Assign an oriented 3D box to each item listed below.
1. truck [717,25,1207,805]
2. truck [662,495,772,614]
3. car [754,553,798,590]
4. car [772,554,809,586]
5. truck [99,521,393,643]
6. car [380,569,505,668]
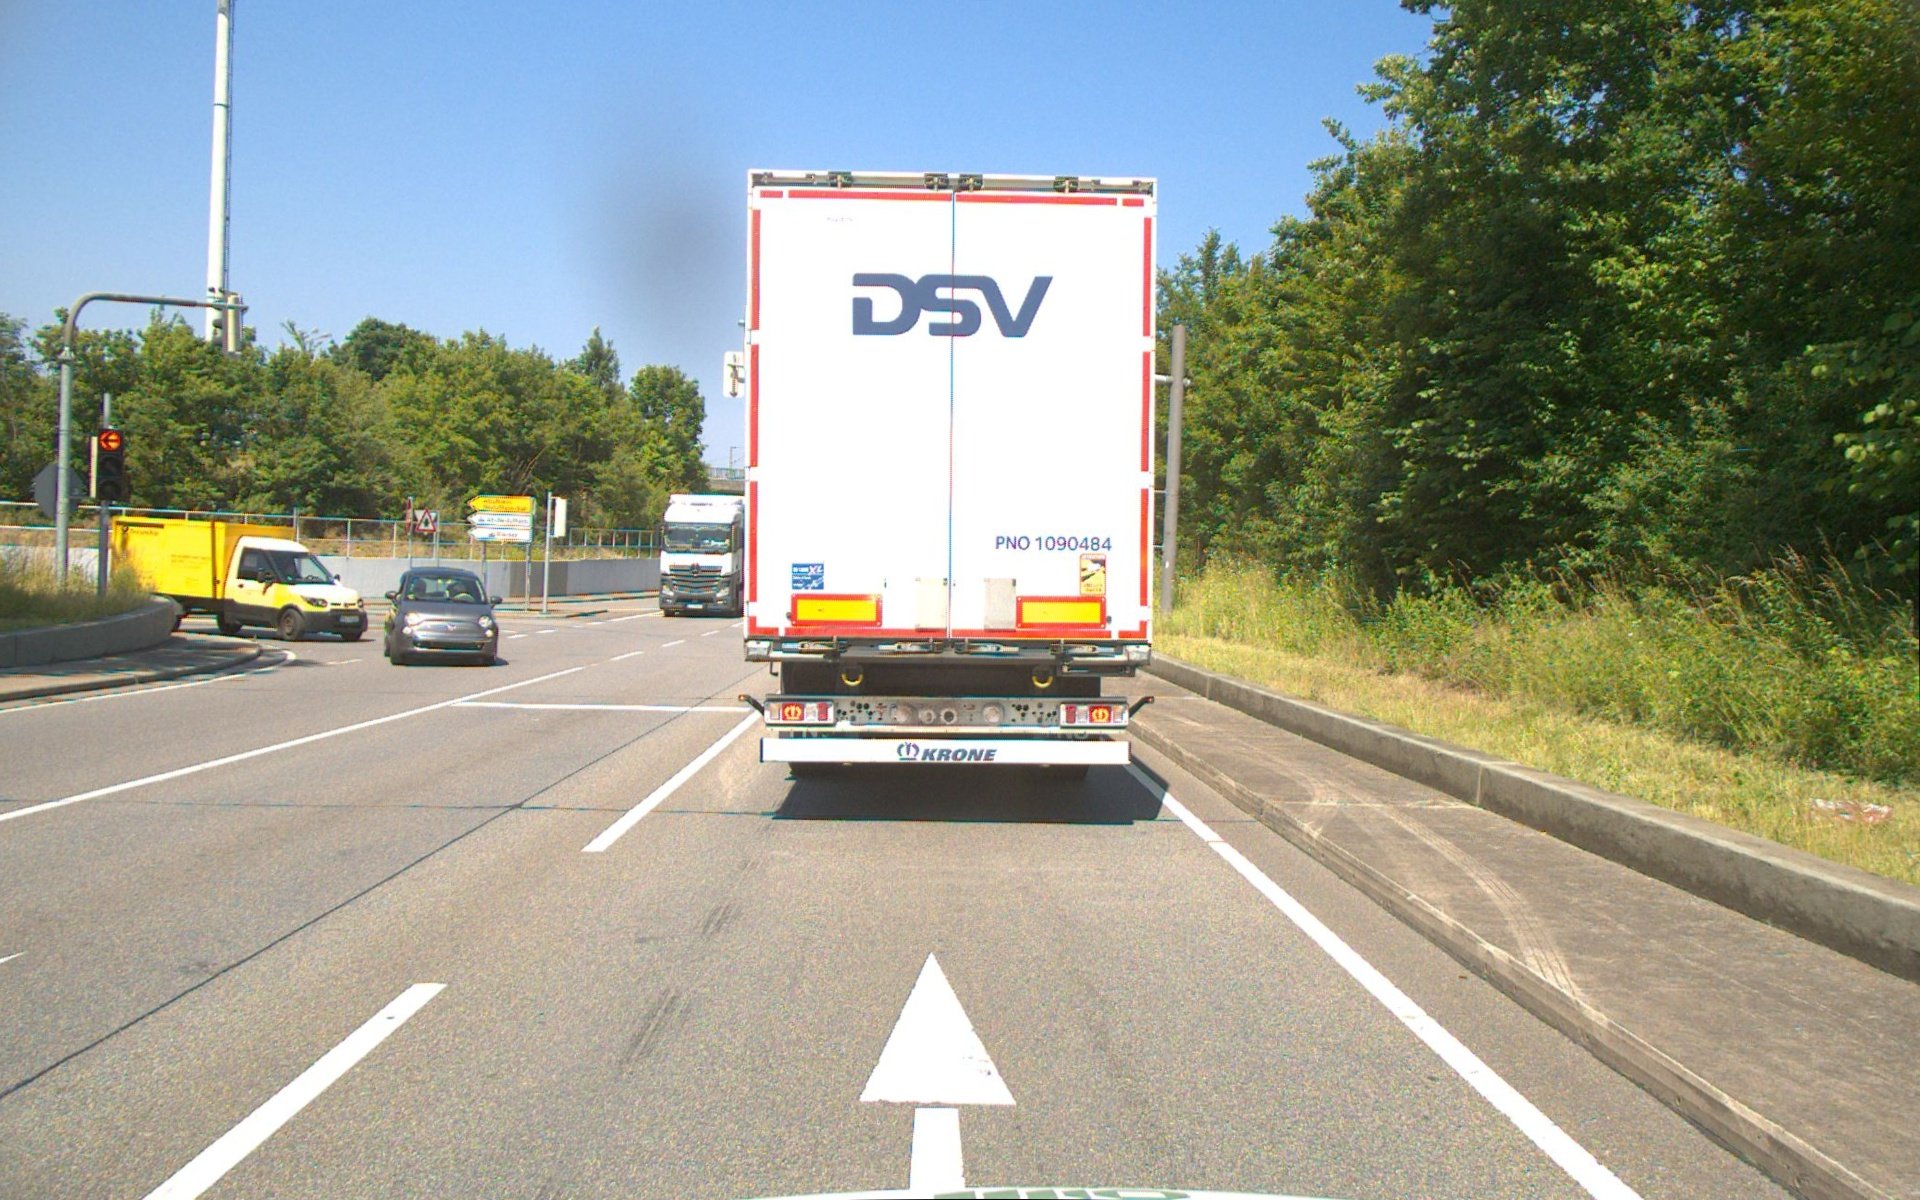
[{"bbox_3d":[-0.148,-1.168,14.915,2.890,4.648,9.859,1,1,-2],"label":"truck"},{"bbox_3d":[-8.601,-1.609,59.934,2.305,3.815,12.624,1,1,-1],"label":"truck"},{"bbox_3d":[-8.538,-1.331,76.847,1.711,1.654,3.702,1,1,-1],"label":"car"},{"bbox_3d":[-9.206,-1.640,89.914,1.711,1.654,3.702,1,1,-1],"label":"car"},{"bbox_3d":[-14.649,-0.402,33.868,5.883,2.314,1.984,2,1,23],"label":"truck"},{"bbox_3d":[-8.592,0.264,27.304,1.566,1.495,3.574,1,1,-24],"label":"car"}]
